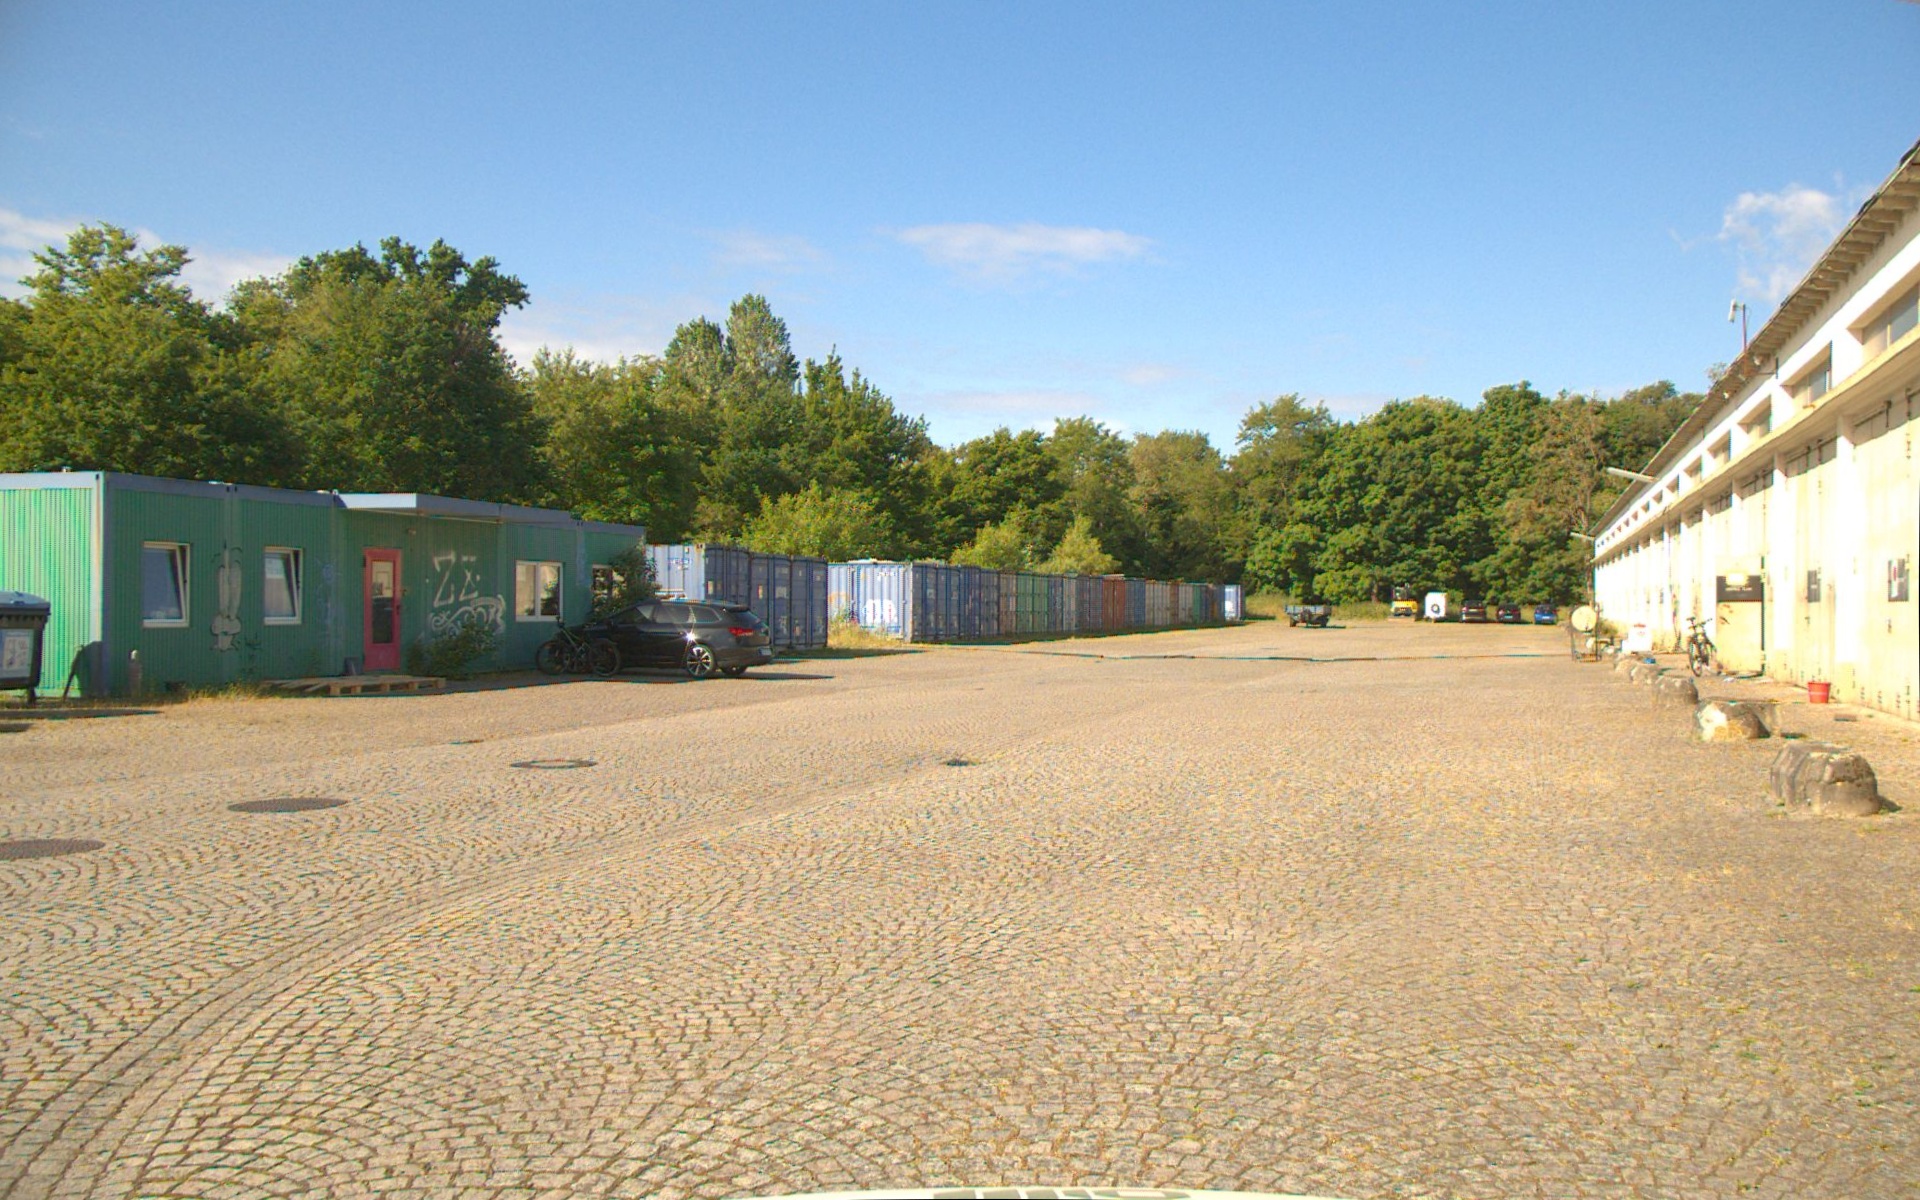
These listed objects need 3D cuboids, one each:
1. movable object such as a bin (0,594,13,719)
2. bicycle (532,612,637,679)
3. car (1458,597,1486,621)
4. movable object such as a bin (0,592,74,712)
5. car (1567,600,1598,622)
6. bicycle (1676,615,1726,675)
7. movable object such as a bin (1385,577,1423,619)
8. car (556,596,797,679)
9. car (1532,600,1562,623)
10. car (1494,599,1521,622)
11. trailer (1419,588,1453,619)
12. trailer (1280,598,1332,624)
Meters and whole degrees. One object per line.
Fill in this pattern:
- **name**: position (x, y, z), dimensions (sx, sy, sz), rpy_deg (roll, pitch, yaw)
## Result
- **movable object such as a bin**: position (-12.006, 0.654, 19.199), dimensions (0.996, 1.483, 1.441), rpy_deg (1, -1, 18)
- **bicycle**: position (-6.955, 0.827, 30.630), dimensions (1.765, 1.190, 0.669), rpy_deg (1, -1, 17)
- **car**: position (37.328, 0.655, 120.497), dimensions (1.825, 1.617, 4.298), rpy_deg (2, 2, 19)
- **movable object such as a bin**: position (-12.165, 0.635, 21.033), dimensions (0.863, 1.483, 1.441), rpy_deg (1, 0, 8)
- **car**: position (44.996, 0.769, 119.579), dimensions (1.710, 1.461, 4.179), rpy_deg (2, 2, 26)
- **bicycle**: position (14.153, 0.847, 31.561), dimensions (0.652, 1.087, 1.820), rpy_deg (1, -1, 31)
- **movable object such as a bin**: position (33.605, -0.178, 124.985), dimensions (2.258, 2.947, 5.753), rpy_deg (1, 2, 20)
- **car**: position (-5.478, 0.699, 32.047), dimensions (4.162, 1.475, 1.932), rpy_deg (1, 0, 17)
- **car**: position (42.276, 0.796, 119.055), dimensions (1.709, 1.461, 4.181), rpy_deg (2, 2, 24)
- **car**: position (39.743, 0.746, 120.024), dimensions (1.825, 1.495, 4.298), rpy_deg (2, 2, 19)
- **trailer**: position (35.606, 0.232, 123.639), dimensions (2.147, 2.131, 5.753), rpy_deg (1, 2, 19)
- **trailer**: position (22.441, 0.699, 106.999), dimensions (2.648, 1.491, 6.251), rpy_deg (2, 1, 18)
